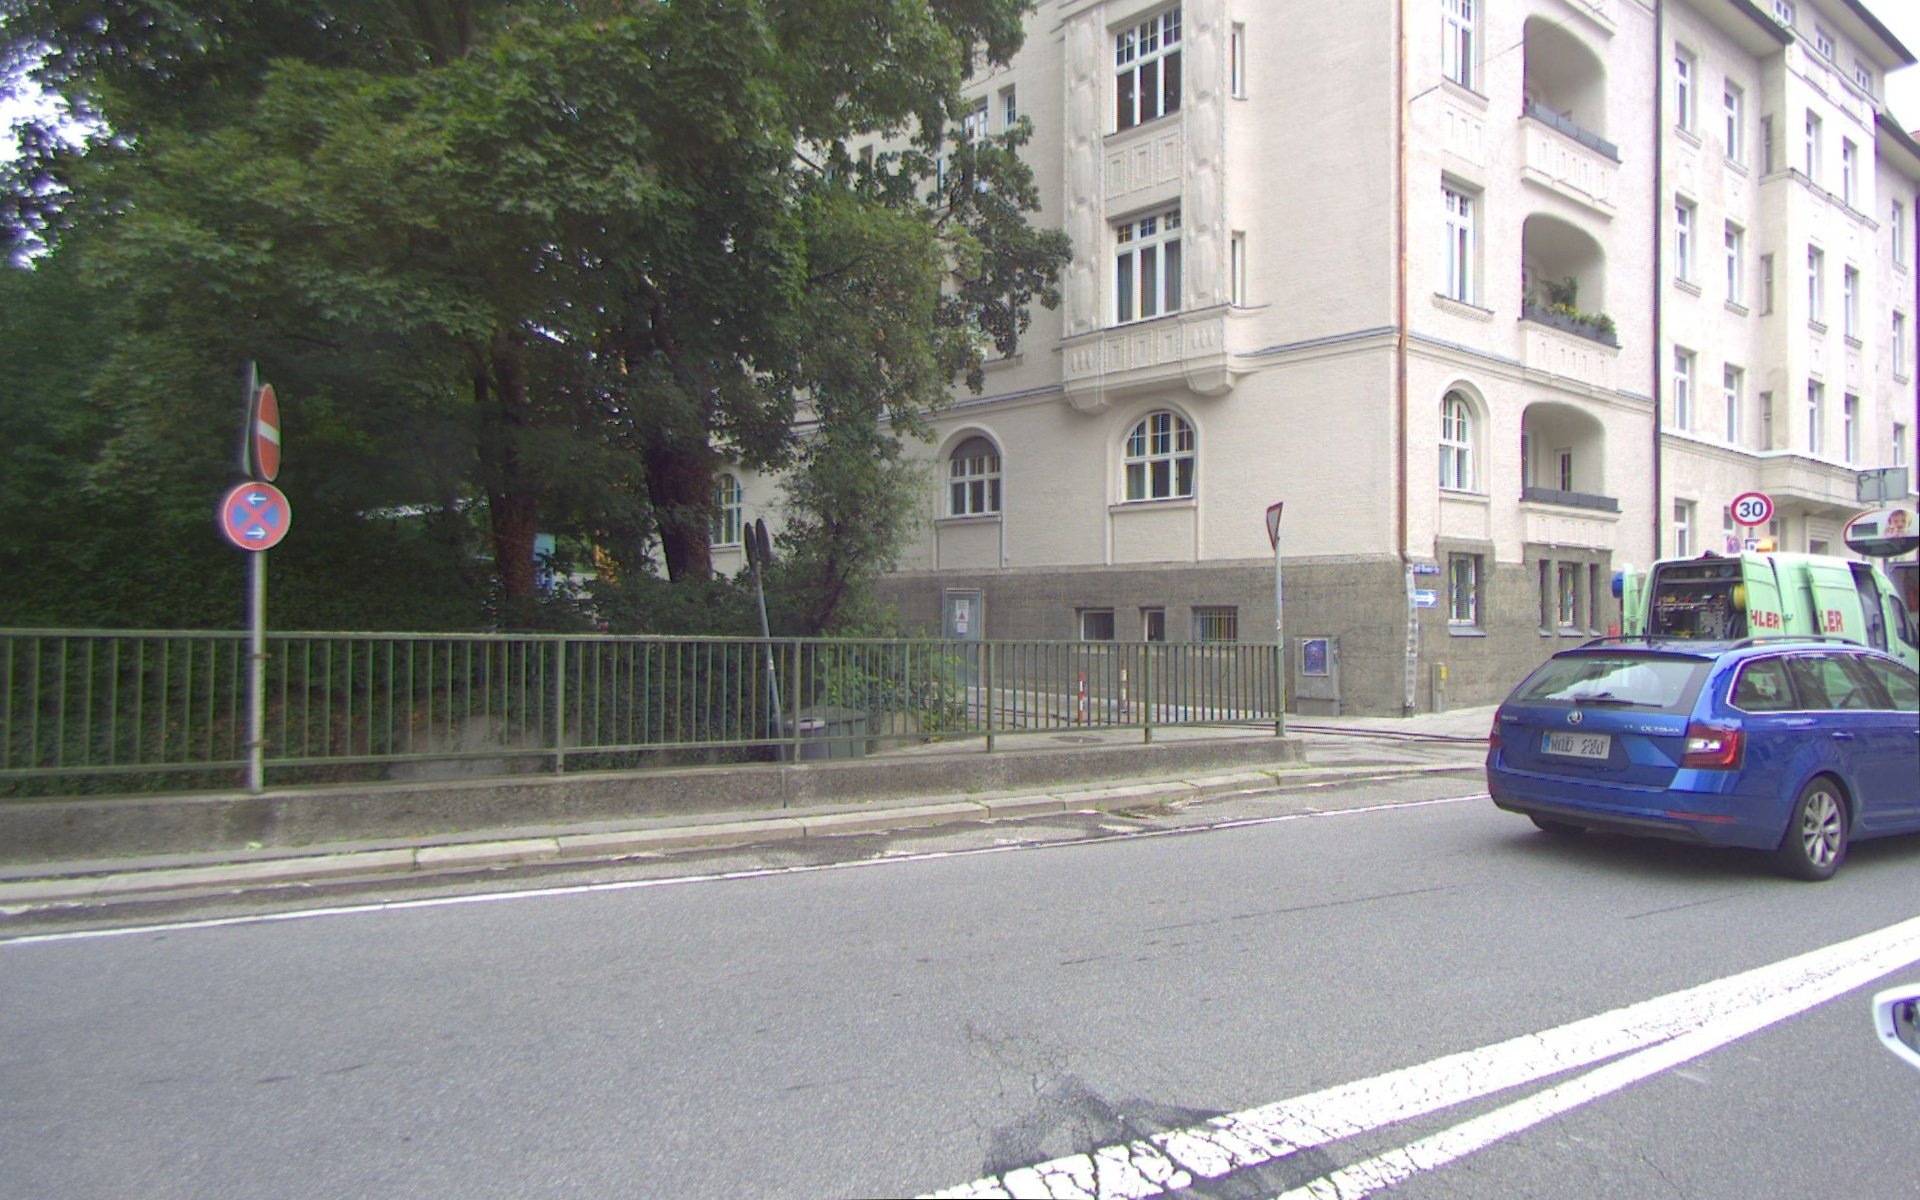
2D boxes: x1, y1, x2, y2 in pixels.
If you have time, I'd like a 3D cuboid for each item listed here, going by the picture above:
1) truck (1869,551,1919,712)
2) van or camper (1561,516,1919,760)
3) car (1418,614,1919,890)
[{"bbox_3d":[20.685,0.570,19.582,7.126,2.911,2.757,0,-1,-34],"label":"truck"},{"bbox_3d":[11.696,0.487,14.599,6.116,2.878,2.587,0,-1,-32],"label":"van or camper"},{"bbox_3d":[5.802,0.904,7.244,4.669,1.473,1.982,2,-2,-24],"label":"car"}]
